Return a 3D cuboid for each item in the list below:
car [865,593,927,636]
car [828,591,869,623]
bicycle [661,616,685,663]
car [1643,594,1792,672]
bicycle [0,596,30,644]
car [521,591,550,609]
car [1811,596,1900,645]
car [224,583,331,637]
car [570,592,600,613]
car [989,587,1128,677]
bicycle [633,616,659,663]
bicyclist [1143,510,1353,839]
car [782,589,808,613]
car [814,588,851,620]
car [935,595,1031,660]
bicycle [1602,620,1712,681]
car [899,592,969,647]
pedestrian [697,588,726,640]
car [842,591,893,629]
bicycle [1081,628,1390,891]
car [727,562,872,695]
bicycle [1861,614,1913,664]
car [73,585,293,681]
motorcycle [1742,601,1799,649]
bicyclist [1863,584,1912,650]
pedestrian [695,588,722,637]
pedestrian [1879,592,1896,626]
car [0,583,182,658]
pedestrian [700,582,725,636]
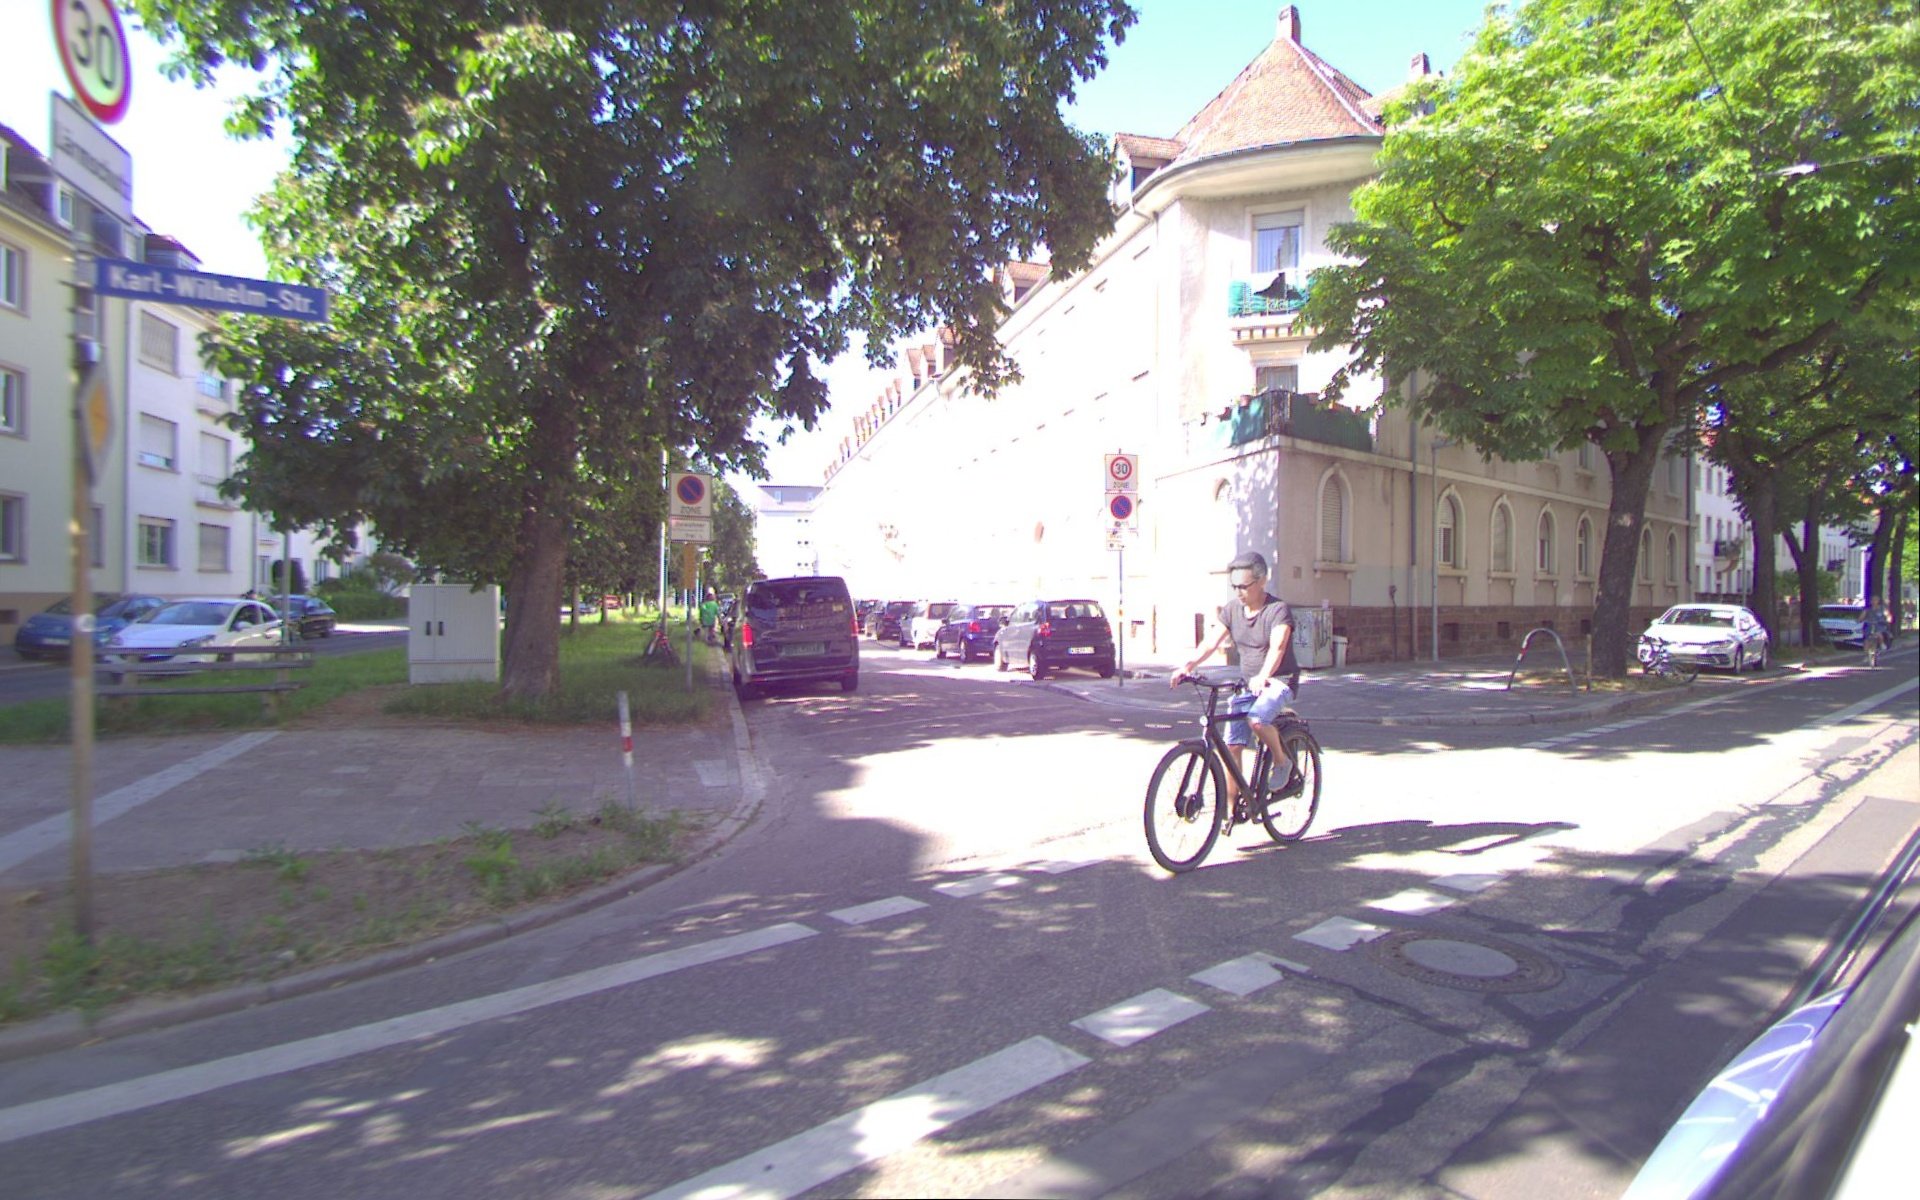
[{"bbox_3d":[-2.382,0.491,36.802,1.605,1.434,3.970,-1,1,-13],"label":"car"},{"bbox_3d":[-5.511,0.316,49.703,1.605,1.519,3.644,-1,1,-13],"label":"car"},{"bbox_3d":[-5.174,0.699,18.239,0.410,0.787,1.386,0,0,-16],"label":"bicycle"},{"bbox_3d":[16.500,0.650,21.977,4.139,1.490,1.704,0,1,-41],"label":"car"},{"bbox_3d":[-23.805,0.501,24.081,0.750,1.171,4.008,0,0,-16],"label":"bicycle"},{"bbox_3d":[-37.014,-0.042,88.344,1.749,1.415,3.878,3,0,-15],"label":"car"},{"bbox_3d":[29.993,0.638,33.846,4.670,1.502,1.821,0,2,-44],"label":"car"},{"bbox_3d":[-23.147,0.312,34.482,1.749,1.674,3.878,3,0,-15],"label":"car"},{"bbox_3d":[-28.999,0.175,78.300,1.749,1.505,3.980,3,0,-15],"label":"car"},{"bbox_3d":[1.864,0.567,20.182,1.687,1.557,3.447,-3,1,-13],"label":"car"},{"bbox_3d":[-5.627,0.695,18.158,0.410,0.768,1.386,0,0,-16],"label":"bicycle"},{"bbox_3d":[1.728,0.398,6.053,1.028,1.761,0.762,0,-1,-41],"label":"bicyclist"},{"bbox_3d":[-13.137,0.064,80.312,1.746,1.740,4.050,-3,1,-13],"label":"car"},{"bbox_3d":[-7.122,0.200,56.288,1.605,1.694,3.864,-1,1,-13],"label":"car"},{"bbox_3d":[0.493,0.617,24.813,1.539,1.415,3.366,-1,1,-13],"label":"car"},{"bbox_3d":[12.670,0.893,18.418,1.564,0.992,0.631,2,1,41],"label":"bicycle"},{"bbox_3d":[-0.839,0.547,30.609,1.408,1.519,3.509,-1,1,-13],"label":"car"},{"bbox_3d":[-7.626,0.417,31.034,0.826,1.588,0.575,0,0,-17],"label":"pedestrian"},{"bbox_3d":[-3.965,0.396,42.936,1.605,1.519,3.776,-1,1,-13],"label":"car"},{"bbox_3d":[1.695,0.822,6.014,2.059,1.258,0.762,0,-1,-41],"label":"bicycle"},{"bbox_3d":[-2.943,0.396,17.569,1.958,1.914,5.077,-2,1,-14],"label":"car"},{"bbox_3d":[22.143,0.906,24.167,2.024,1.100,0.775,0,0,-44],"label":"bicycle"},{"bbox_3d":[-14.121,0.534,18.704,1.749,1.505,3.980,3,0,-15],"label":"car"},{"bbox_3d":[22.538,0.675,28.131,2.221,1.266,0.763,0,1,-39],"label":"motorcycle"},{"bbox_3d":[22.154,0.395,24.169,1.209,1.533,0.775,0,-1,-44],"label":"bicyclist"},{"bbox_3d":[-8.229,0.406,33.064,0.826,1.588,0.575,0,0,-17],"label":"pedestrian"},{"bbox_3d":[55.513,0.528,60.562,0.740,2.039,0.678,0,0,41],"label":"pedestrian"},{"bbox_3d":[-20.460,0.438,24.054,1.805,1.566,3.878,3,0,-17],"label":"car"},{"bbox_3d":[-8.592,0.314,35.156,0.826,1.865,0.575,0,0,-16],"label":"pedestrian"}]
